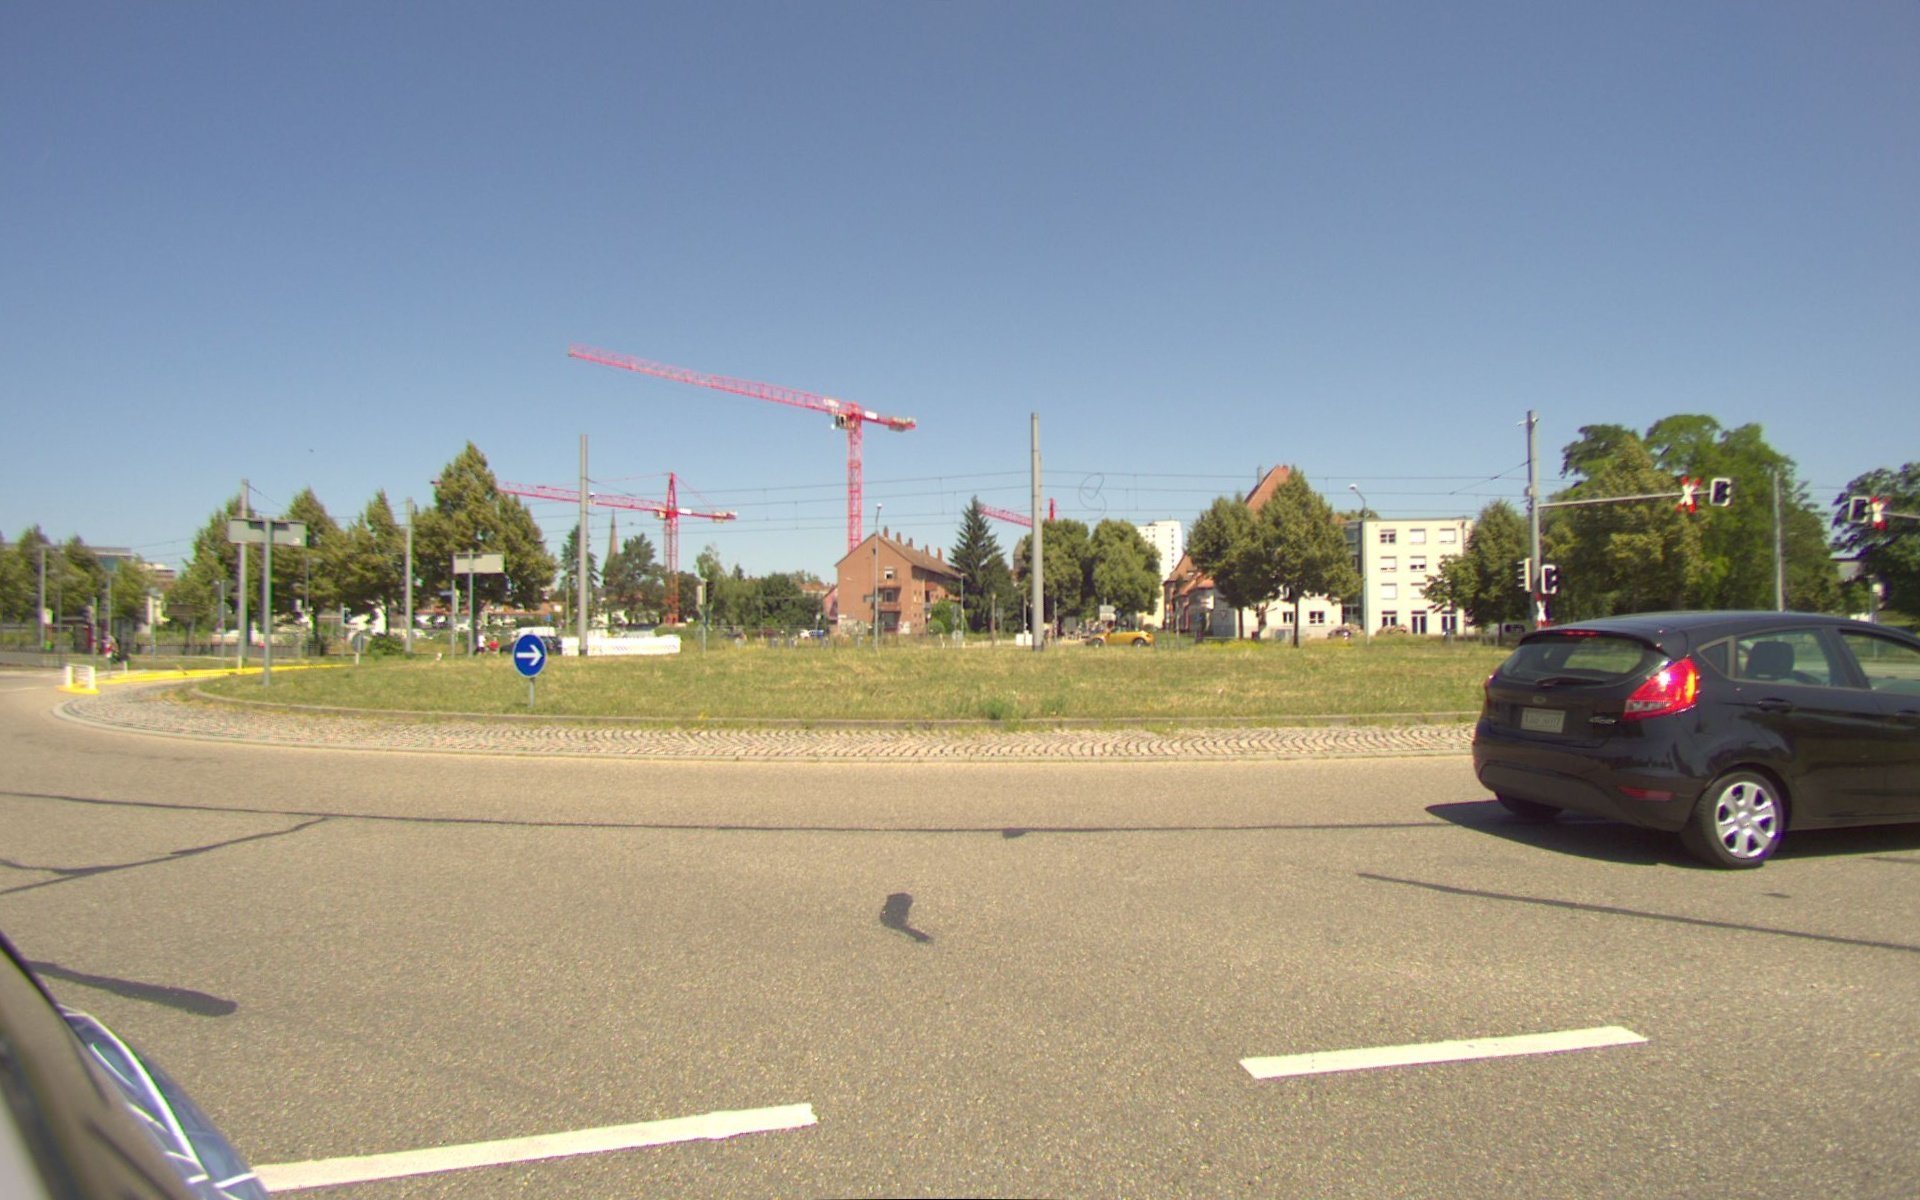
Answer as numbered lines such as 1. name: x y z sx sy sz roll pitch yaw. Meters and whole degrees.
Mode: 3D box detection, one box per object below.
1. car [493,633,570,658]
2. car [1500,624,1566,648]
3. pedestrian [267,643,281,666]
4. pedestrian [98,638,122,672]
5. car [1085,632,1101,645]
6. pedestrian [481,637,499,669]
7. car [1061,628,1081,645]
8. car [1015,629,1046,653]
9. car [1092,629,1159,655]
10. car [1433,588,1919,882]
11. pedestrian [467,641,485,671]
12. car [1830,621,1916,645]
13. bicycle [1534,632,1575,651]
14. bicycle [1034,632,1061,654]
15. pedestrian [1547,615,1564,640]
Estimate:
1. car: -26.604 2.806 62.861 3.941 1.475 2.001 1 -2 -2
2. car: 43.071 2.726 76.173 3.964 1.697 1.990 1 -2 16
3. pedestrian: -41.465 3.290 61.190 0.543 1.417 0.589 -2 -2 40
4. pedestrian: -42.929 2.770 51.108 0.781 1.652 0.750 0 -2 40
5. car: 16.324 4.691 123.956 1.697 1.431 3.888 1 -2 10
6. pedestrian: -30.863 3.486 66.455 0.731 2.029 0.736 0 -2 40
7. car: 14.472 4.727 131.365 1.981 2.029 3.980 1 -2 15
8. car: 6.289 3.612 90.082 1.981 2.029 3.980 1 -2 15
9. car: 9.798 2.473 59.905 3.638 1.413 1.817 0 -1 23
10. car: 5.243 0.695 6.461 3.756 1.519 1.638 -1 0 -11
11. pedestrian: -31.433 3.621 65.740 0.731 1.913 0.804 0 -2 40
12. car: 63.715 2.289 70.663 1.965 1.586 4.013 2 -2 -26
13. bicycle: 35.648 2.483 60.705 2.056 1.123 0.720 0 -2 38
14. bicycle: 6.971 3.382 80.380 2.053 1.697 0.561 1 -2 -8
15. pedestrian: 35.704 1.628 60.667 0.817 1.461 0.700 0 -2 37
